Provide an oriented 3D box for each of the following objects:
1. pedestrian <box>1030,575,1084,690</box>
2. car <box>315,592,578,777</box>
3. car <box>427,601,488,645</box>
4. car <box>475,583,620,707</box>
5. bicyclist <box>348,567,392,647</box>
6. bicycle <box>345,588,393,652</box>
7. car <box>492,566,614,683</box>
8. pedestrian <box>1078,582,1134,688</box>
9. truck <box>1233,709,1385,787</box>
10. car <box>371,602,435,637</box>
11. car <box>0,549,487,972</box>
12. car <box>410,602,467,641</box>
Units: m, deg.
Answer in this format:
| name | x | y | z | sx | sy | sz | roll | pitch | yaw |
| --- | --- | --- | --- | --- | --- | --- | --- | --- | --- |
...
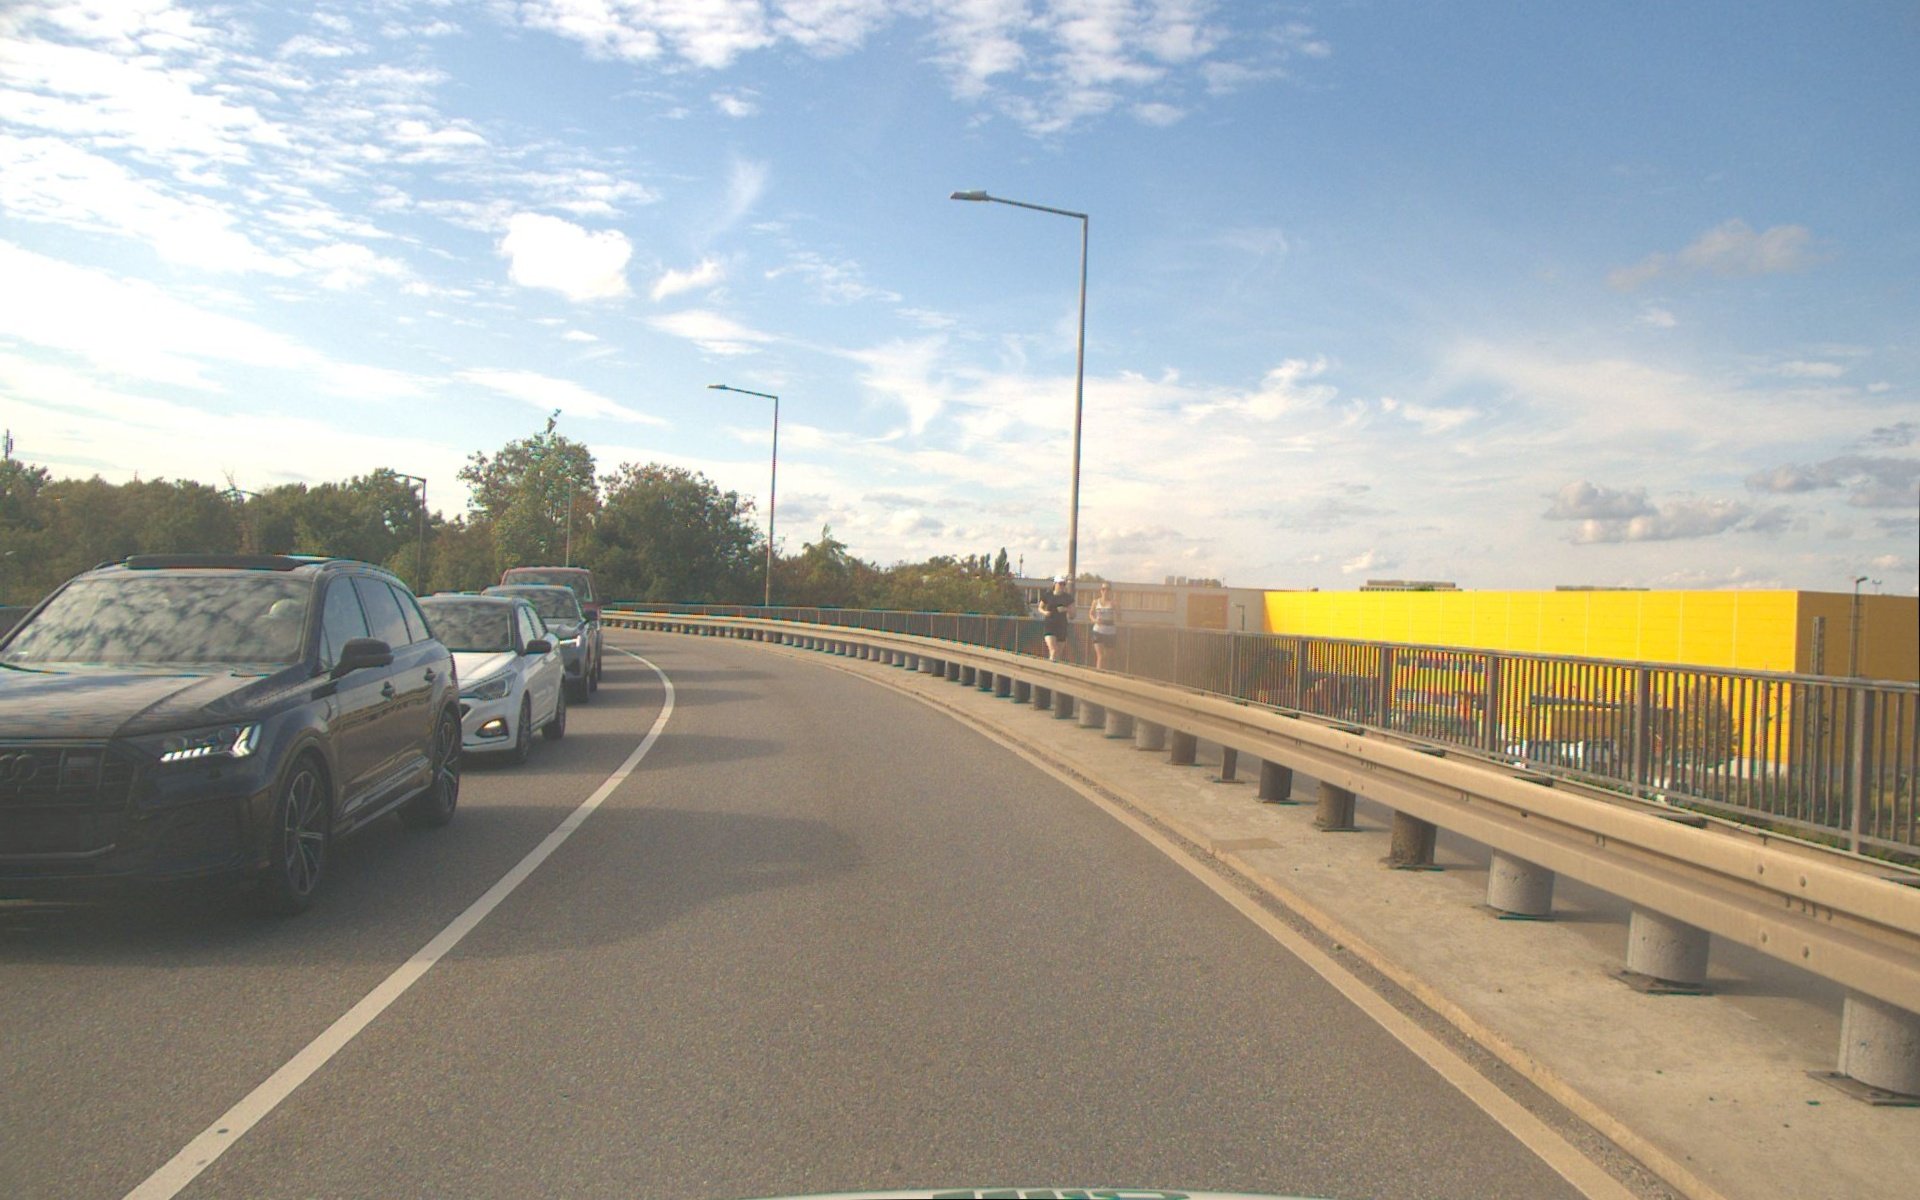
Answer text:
| name | x | y | z | sx | sy | sz | roll | pitch | yaw |
| --- | --- | --- | --- | --- | --- | --- | --- | --- | --- |
| pedestrian | 1.449 | 0.472 | 24.775 | 0.664 | 1.690 | 0.864 | 0 | 0 | -8 |
| car | -4.751 | 0.693 | 15.850 | 1.708 | 1.527 | 4.071 | 0 | 0 | -7 |
| car | -18.359 | 0.816 | 60.376 | 1.717 | 1.527 | 4.048 | 0 | 0 | -23 |
| car | -5.909 | 0.582 | 24.112 | 1.720 | 1.637 | 4.303 | 0 | 0 | -10 |
| bicyclist | -12.760 | 0.149 | 35.796 | 0.753 | 1.690 | 1.116 | 0 | 0 | -14 |
| bicycle | -12.744 | 0.424 | 35.719 | 0.751 | 1.355 | 1.909 | 0 | 0 | -13 |
| car | -7.326 | 0.392 | 30.124 | 1.972 | 1.936 | 4.853 | 0 | 0 | -12 |
| pedestrian | 2.207 | 0.525 | 25.106 | 0.664 | 1.570 | 0.959 | 0 | 0 | -7 |
| truck | 20.656 | 8.712 | 97.974 | 8.442 | 4.162 | 2.658 | 0 | 1 | -13 |
| car | -25.172 | 0.858 | 74.684 | 1.726 | 1.527 | 4.028 | 0 | 0 | -34 |
| car | -4.023 | 0.637 | 9.086 | 1.793 | 1.701 | 4.862 | 0 | 0 | -4 |
| car | -21.418 | 0.838 | 67.874 | 1.719 | 1.527 | 4.044 | 0 | 0 | -25 |
